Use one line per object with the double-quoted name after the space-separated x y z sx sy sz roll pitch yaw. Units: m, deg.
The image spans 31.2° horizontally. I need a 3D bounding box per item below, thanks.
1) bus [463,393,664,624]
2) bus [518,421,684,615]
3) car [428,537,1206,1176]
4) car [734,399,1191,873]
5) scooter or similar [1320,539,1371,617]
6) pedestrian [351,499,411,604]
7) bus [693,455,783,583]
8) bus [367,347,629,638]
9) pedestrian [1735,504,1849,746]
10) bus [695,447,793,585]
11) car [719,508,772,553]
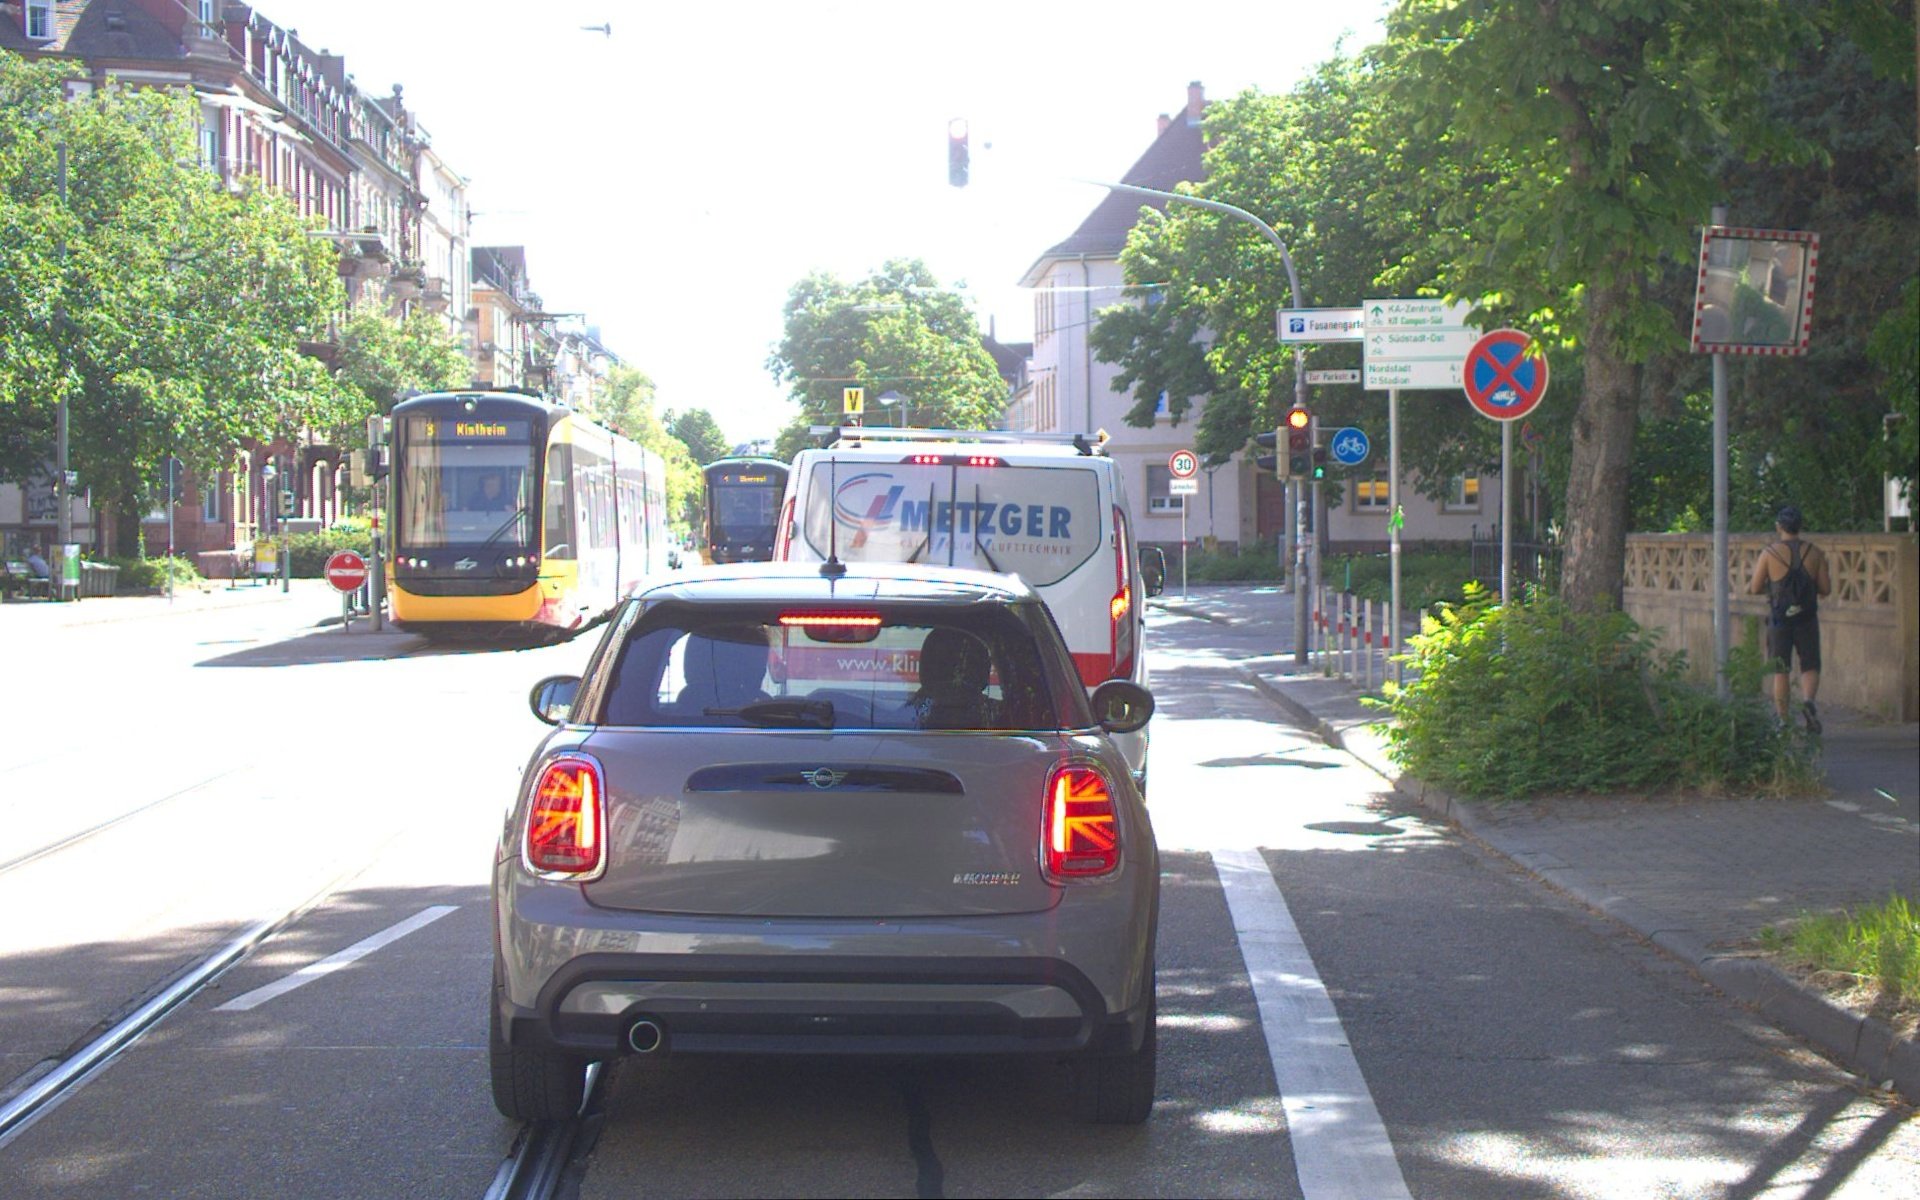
-7.000 -1.565 62.115 2.859 3.764 11.185 1 1 -3 "bus"
-7.561 -1.677 73.804 2.849 3.764 12.199 1 1 -3 "bus"
-0.360 0.586 10.110 1.815 1.483 4.000 1 1 -1 "car"
-0.017 0.146 18.629 2.118 2.200 4.945 1 1 -1 "car"
6.591 -0.380 58.824 0.676 1.305 1.329 1 0 -1 "scooter or similar"
-10.036 -0.833 59.605 0.881 1.795 0.903 1 0 -2 "pedestrian"
-6.407 -2.274 98.378 2.385 3.484 7.385 1 1 -5 "bus"
-6.593 -1.462 50.703 2.859 3.764 11.499 1 1 -3 "bus"
5.858 0.171 24.226 0.592 1.665 0.647 -2 0 -1 "pedestrian"
-5.774 -2.176 90.988 2.385 3.484 7.385 1 1 -5 "bus"
-7.742 -2.490 124.011 1.863 1.558 4.001 1 1 -4 "car"
